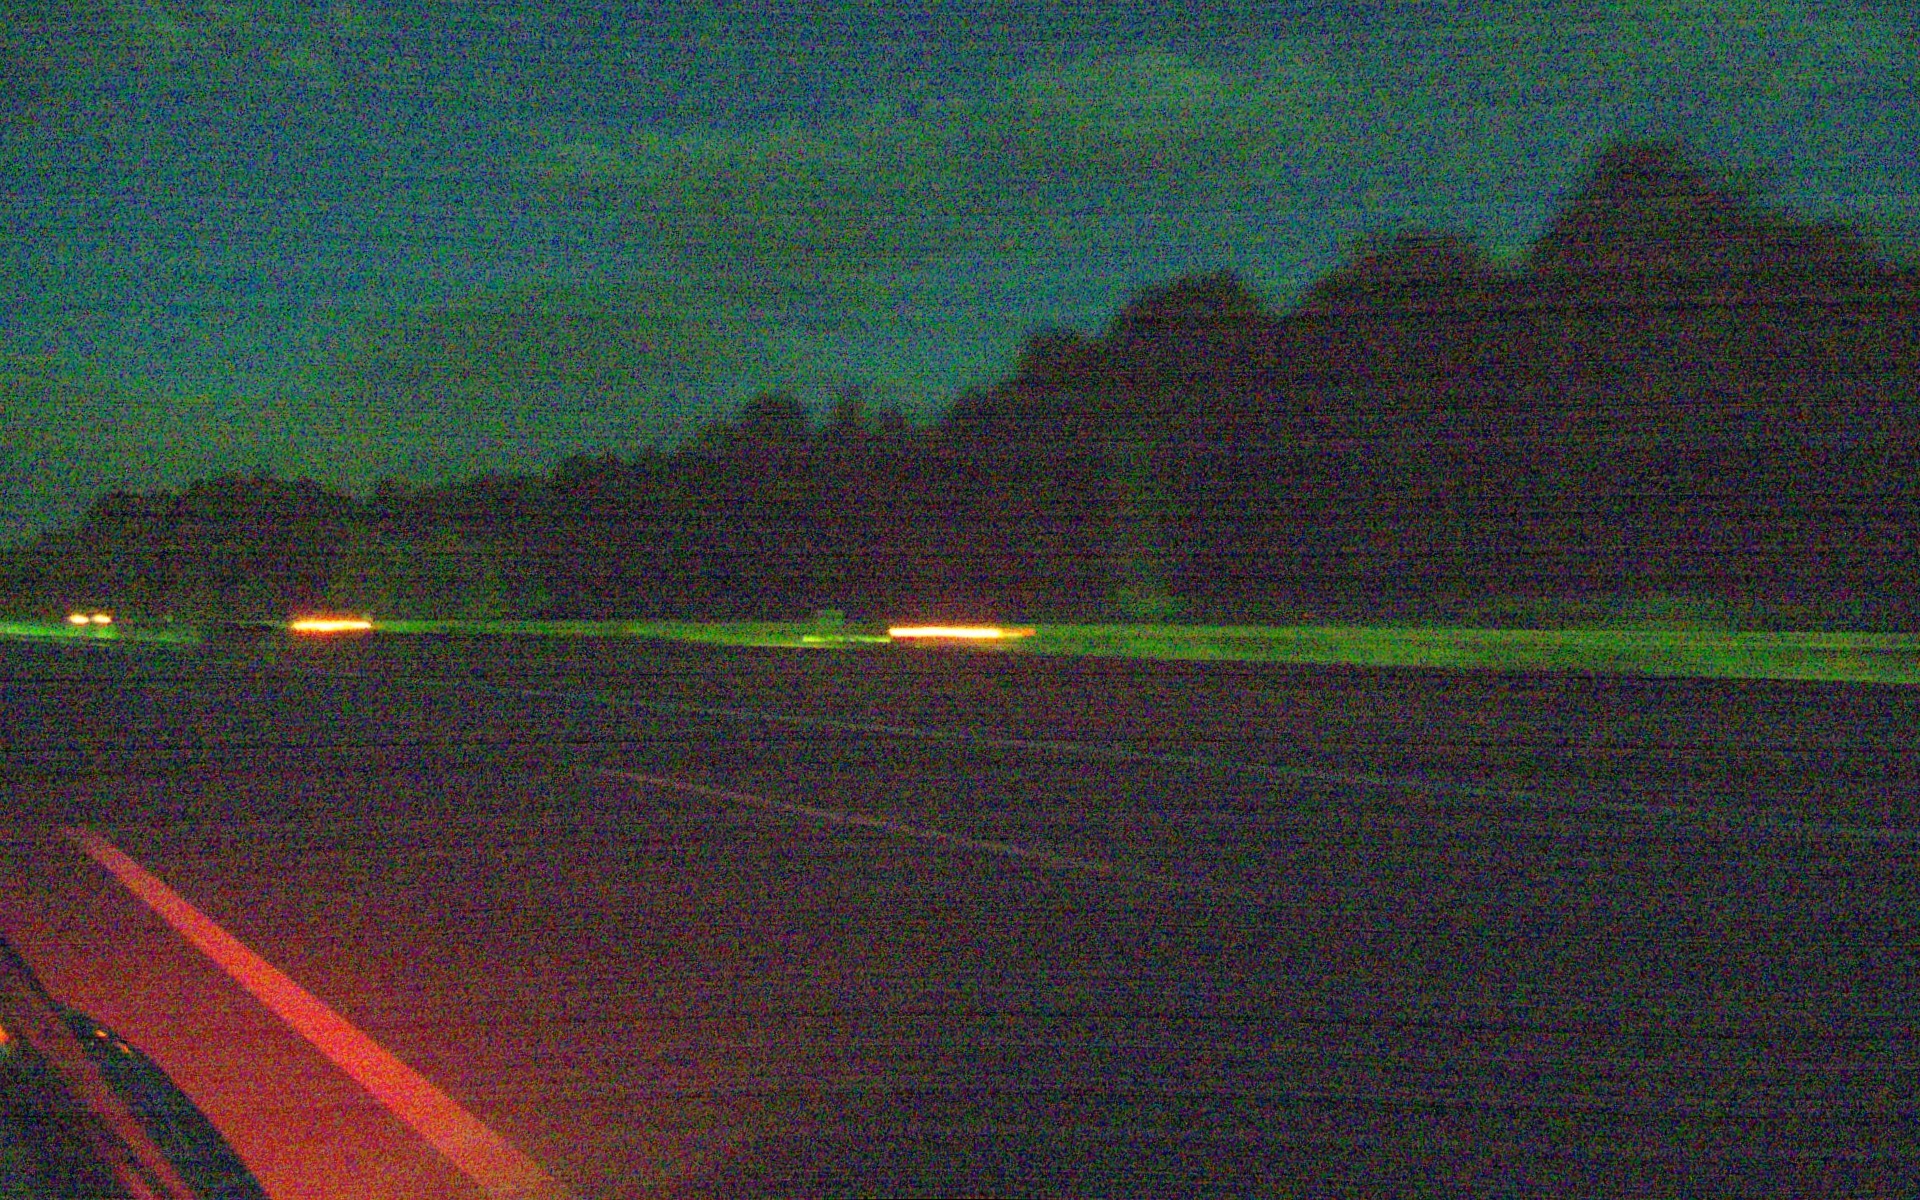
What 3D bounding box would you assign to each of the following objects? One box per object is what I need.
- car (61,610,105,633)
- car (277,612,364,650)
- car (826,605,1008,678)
[{"bbox_3d":[-73.127,1.779,84.388,4.393,1.800,1.975,0,0,38],"label":"car"},{"bbox_3d":[-26.935,1.268,42.600,4.206,1.479,1.973,0,0,41],"label":"car"},{"bbox_3d":[-1.137,0.970,25.357,4.396,1.663,1.973,0,0,40],"label":"car"}]
